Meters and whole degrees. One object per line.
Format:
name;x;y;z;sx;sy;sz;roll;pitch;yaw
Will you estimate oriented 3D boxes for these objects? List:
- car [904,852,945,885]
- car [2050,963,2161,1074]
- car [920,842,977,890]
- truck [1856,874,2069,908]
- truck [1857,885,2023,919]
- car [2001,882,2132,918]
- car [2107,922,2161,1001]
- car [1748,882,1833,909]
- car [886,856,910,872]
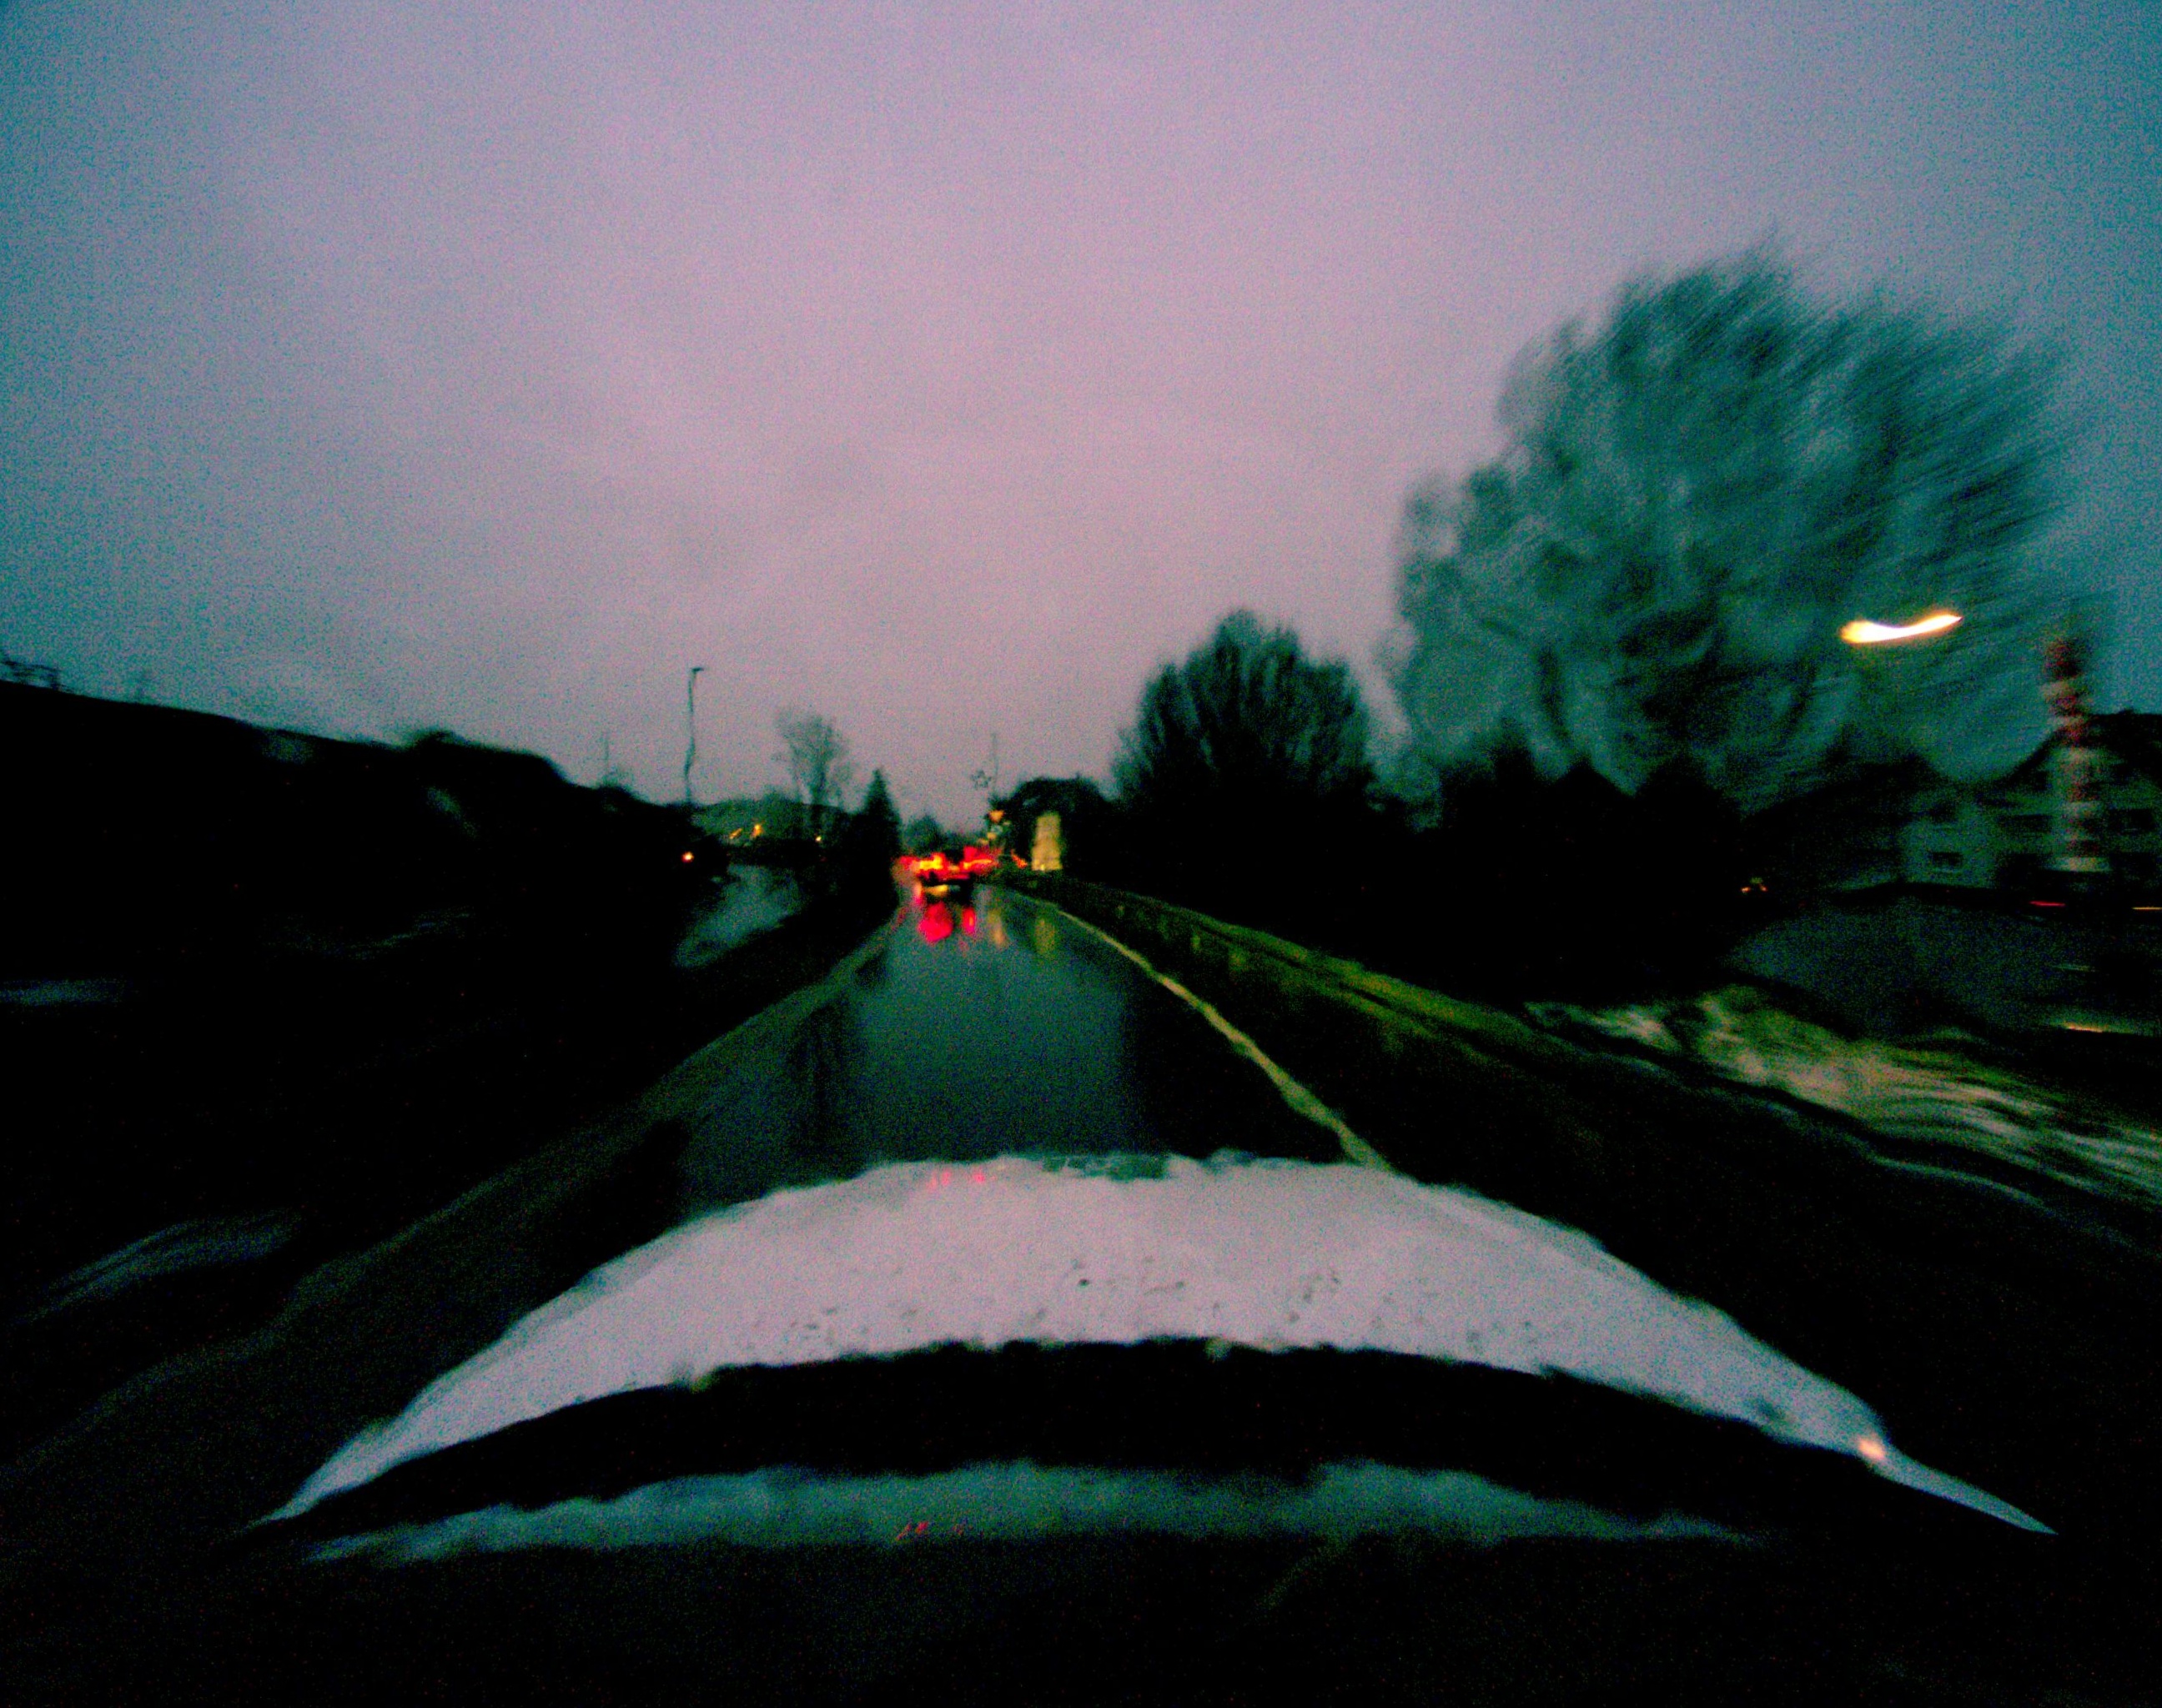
car;-8.875;0.775;45.892;2.165;1.689;4.552;0;1;-12
car;17.640;2.724;13.870;3.225;1.313;1.375;0;0;-39
car;-5.233;0.449;31.880;1.946;1.718;3.983;1;-1;-13
truck;53.376;2.196;49.764;8.553;1.815;2.430;-1;0;39
truck;44.823;2.470;42.743;5.714;1.547;1.955;-1;0;36
car;50.747;2.339;42.076;3.948;1.661;1.955;-1;0;36
car;27.151;2.647;20.242;4.051;1.601;1.705;0;0;-33
car;44.732;2.596;51.384;3.949;1.515;1.924;-1;-1;43
car;-18.796;1.037;83.560;1.779;1.544;3.972;0;-1;-21
